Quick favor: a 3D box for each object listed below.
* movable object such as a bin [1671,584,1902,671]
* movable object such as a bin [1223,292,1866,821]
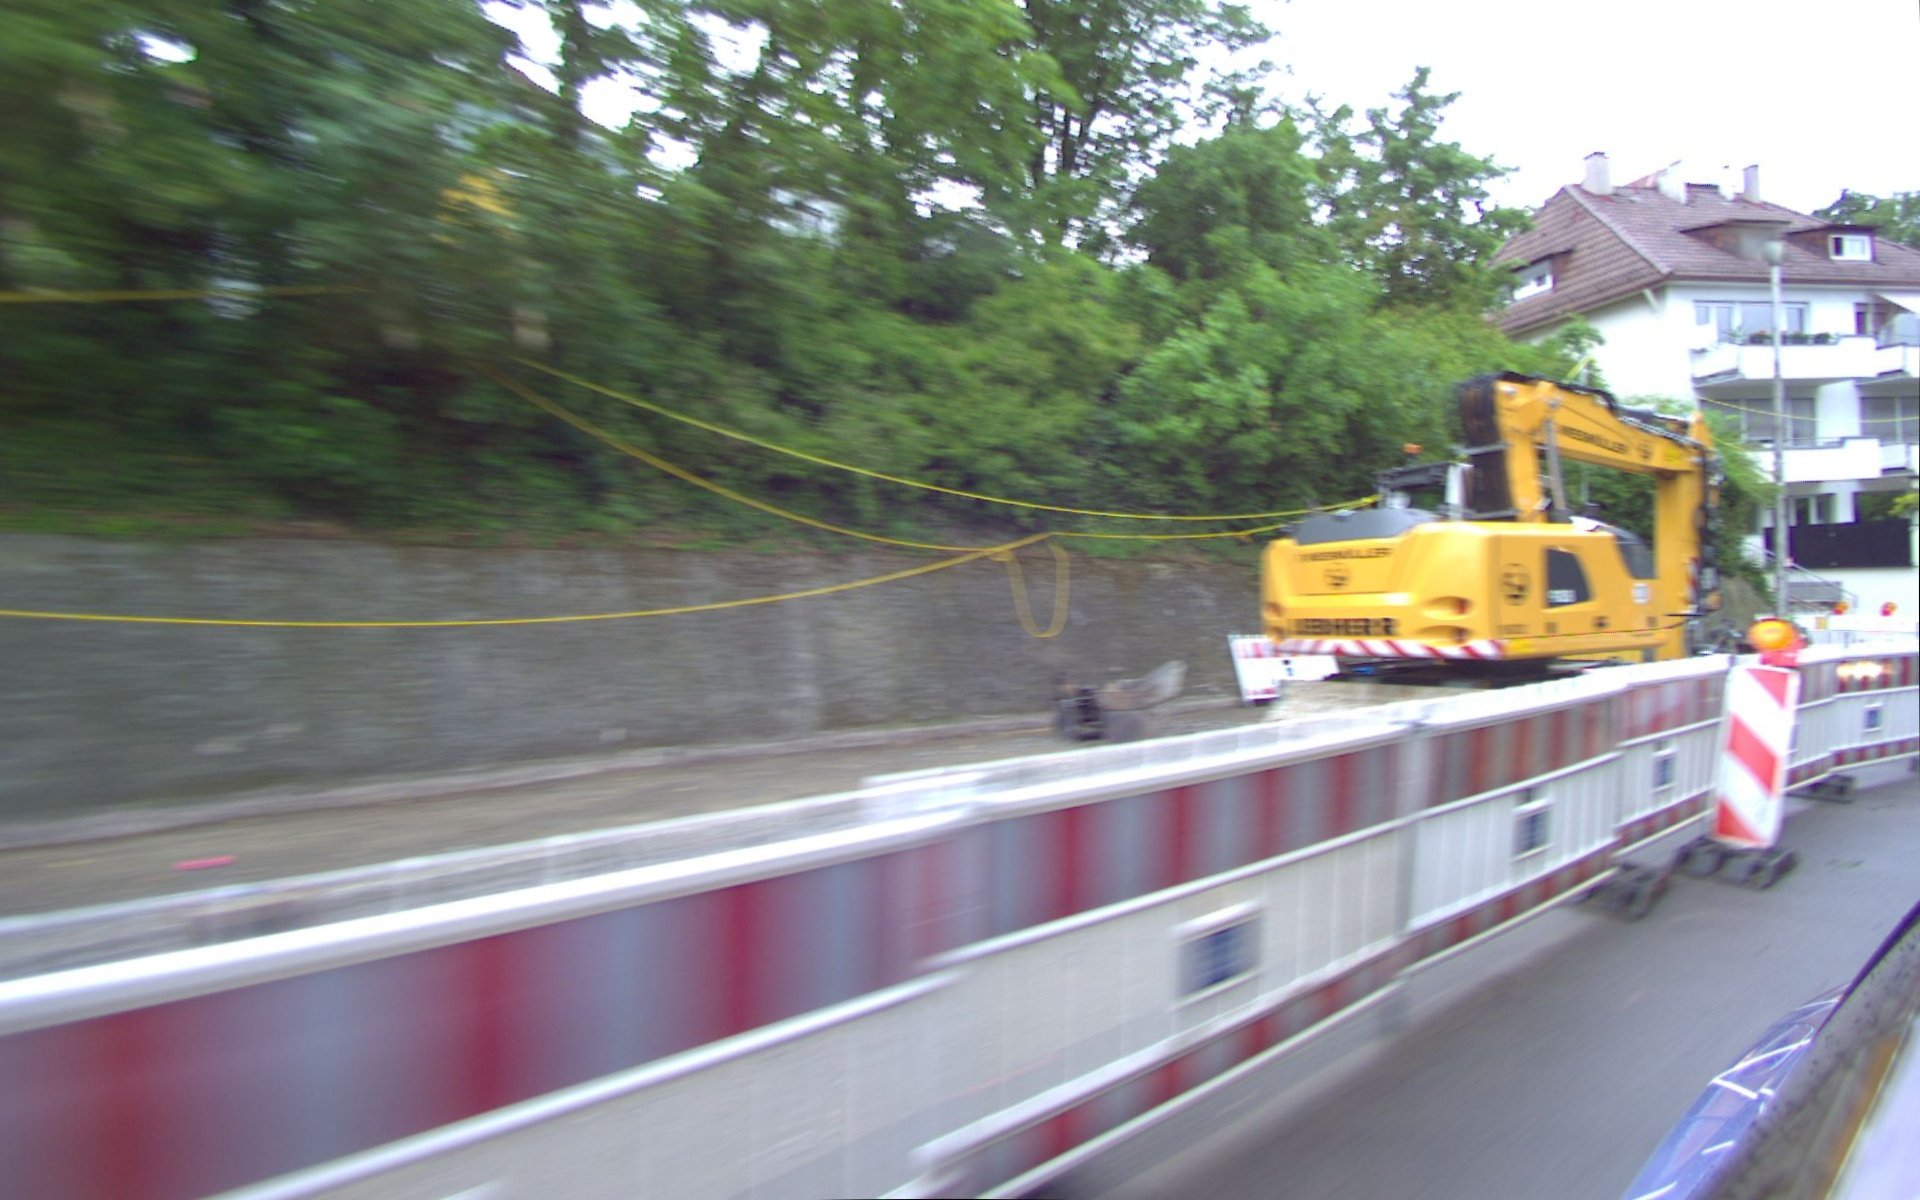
[{"bbox_3d":[16.155,0.483,19.793,3.917,1.538,2.003,0,0,-25],"label":"movable object such as a bin"},{"bbox_3d":[6.455,-0.380,10.845,7.181,4.064,2.831,0,1,-31],"label":"movable object such as a bin"}]
